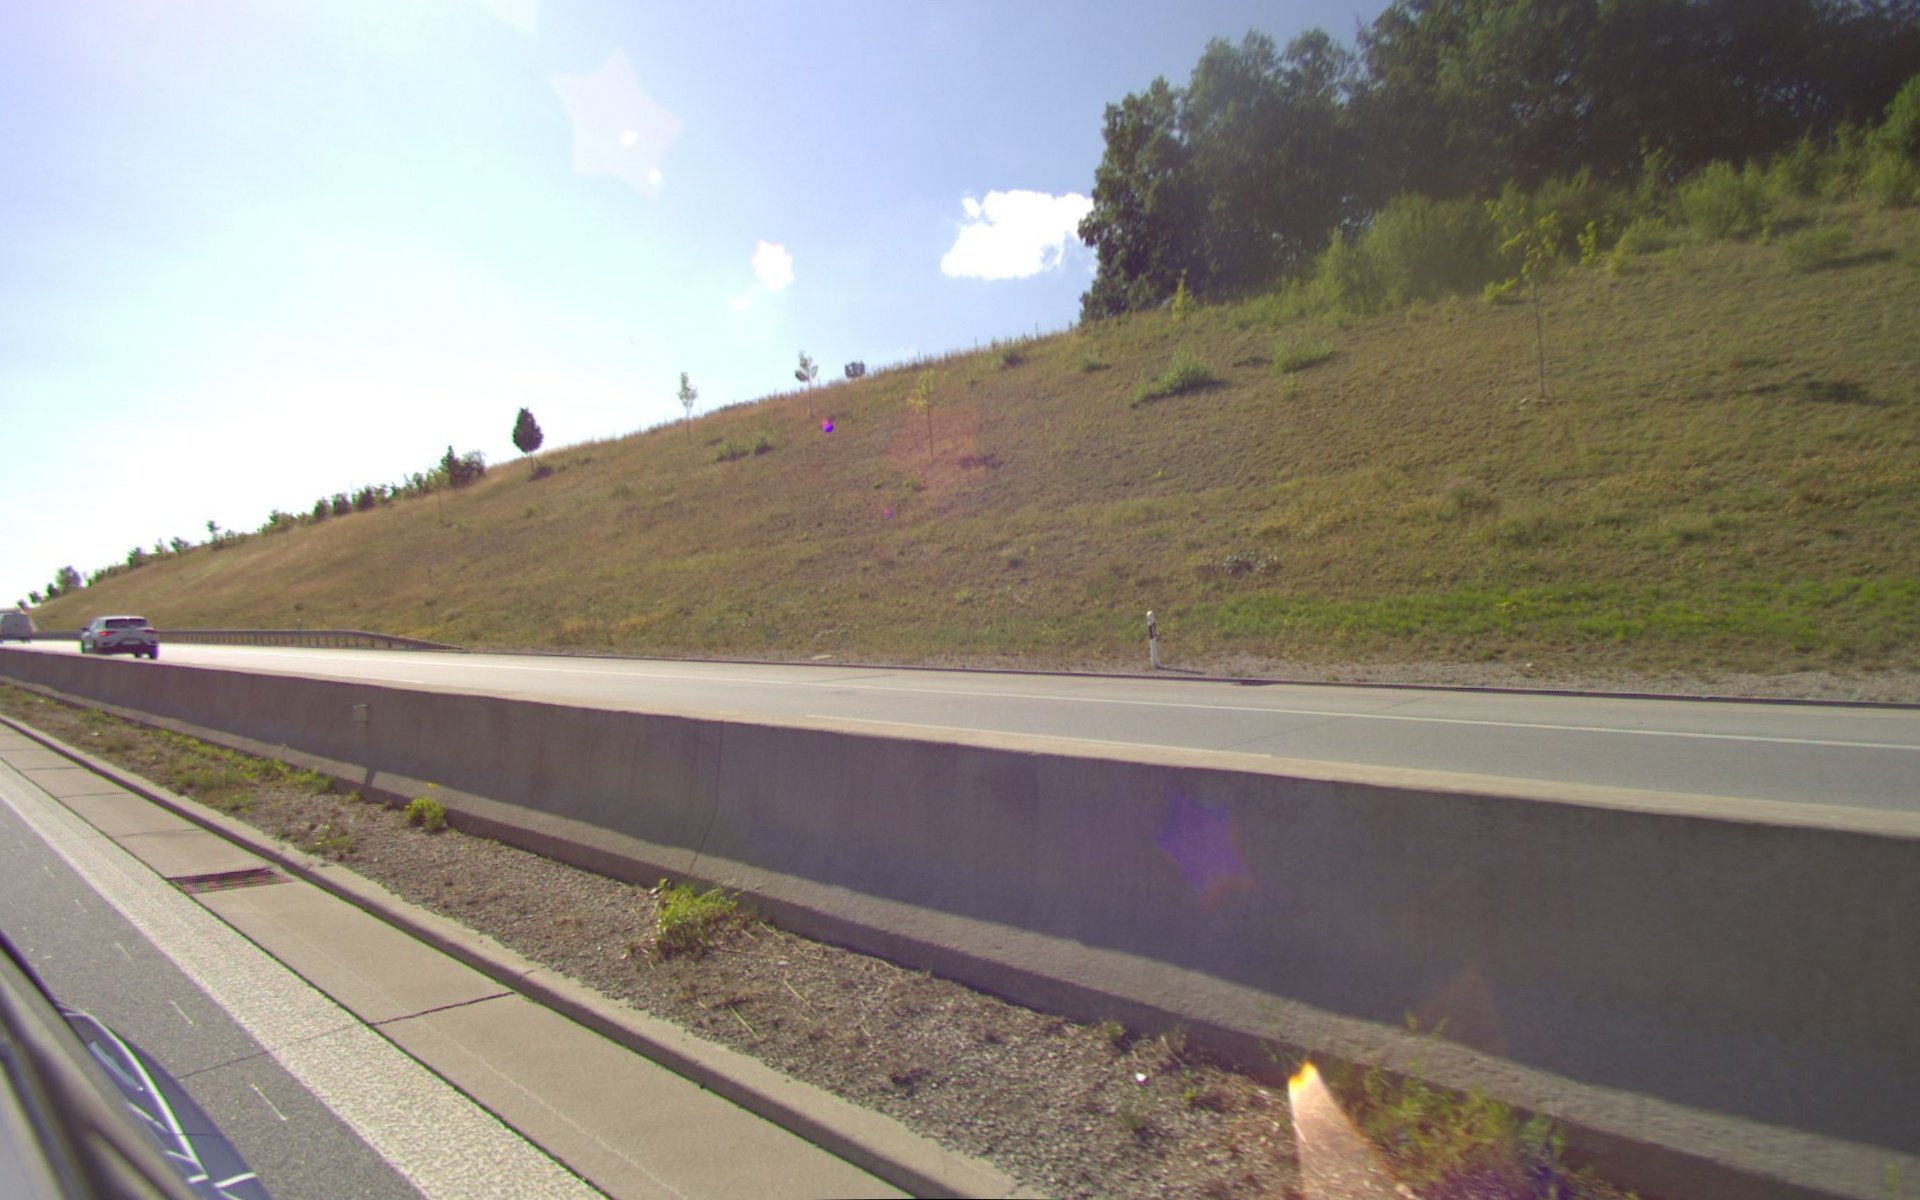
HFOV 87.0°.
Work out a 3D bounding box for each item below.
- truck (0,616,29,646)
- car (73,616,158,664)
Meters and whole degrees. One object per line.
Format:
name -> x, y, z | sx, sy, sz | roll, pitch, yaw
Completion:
truck -> -81.166, 2.659, 86.424 | 5.952, 2.479, 2.089 | -2, -1, 44
car -> -30.720, 1.428, 36.788 | 4.037, 1.613, 1.757 | -2, 0, 41
